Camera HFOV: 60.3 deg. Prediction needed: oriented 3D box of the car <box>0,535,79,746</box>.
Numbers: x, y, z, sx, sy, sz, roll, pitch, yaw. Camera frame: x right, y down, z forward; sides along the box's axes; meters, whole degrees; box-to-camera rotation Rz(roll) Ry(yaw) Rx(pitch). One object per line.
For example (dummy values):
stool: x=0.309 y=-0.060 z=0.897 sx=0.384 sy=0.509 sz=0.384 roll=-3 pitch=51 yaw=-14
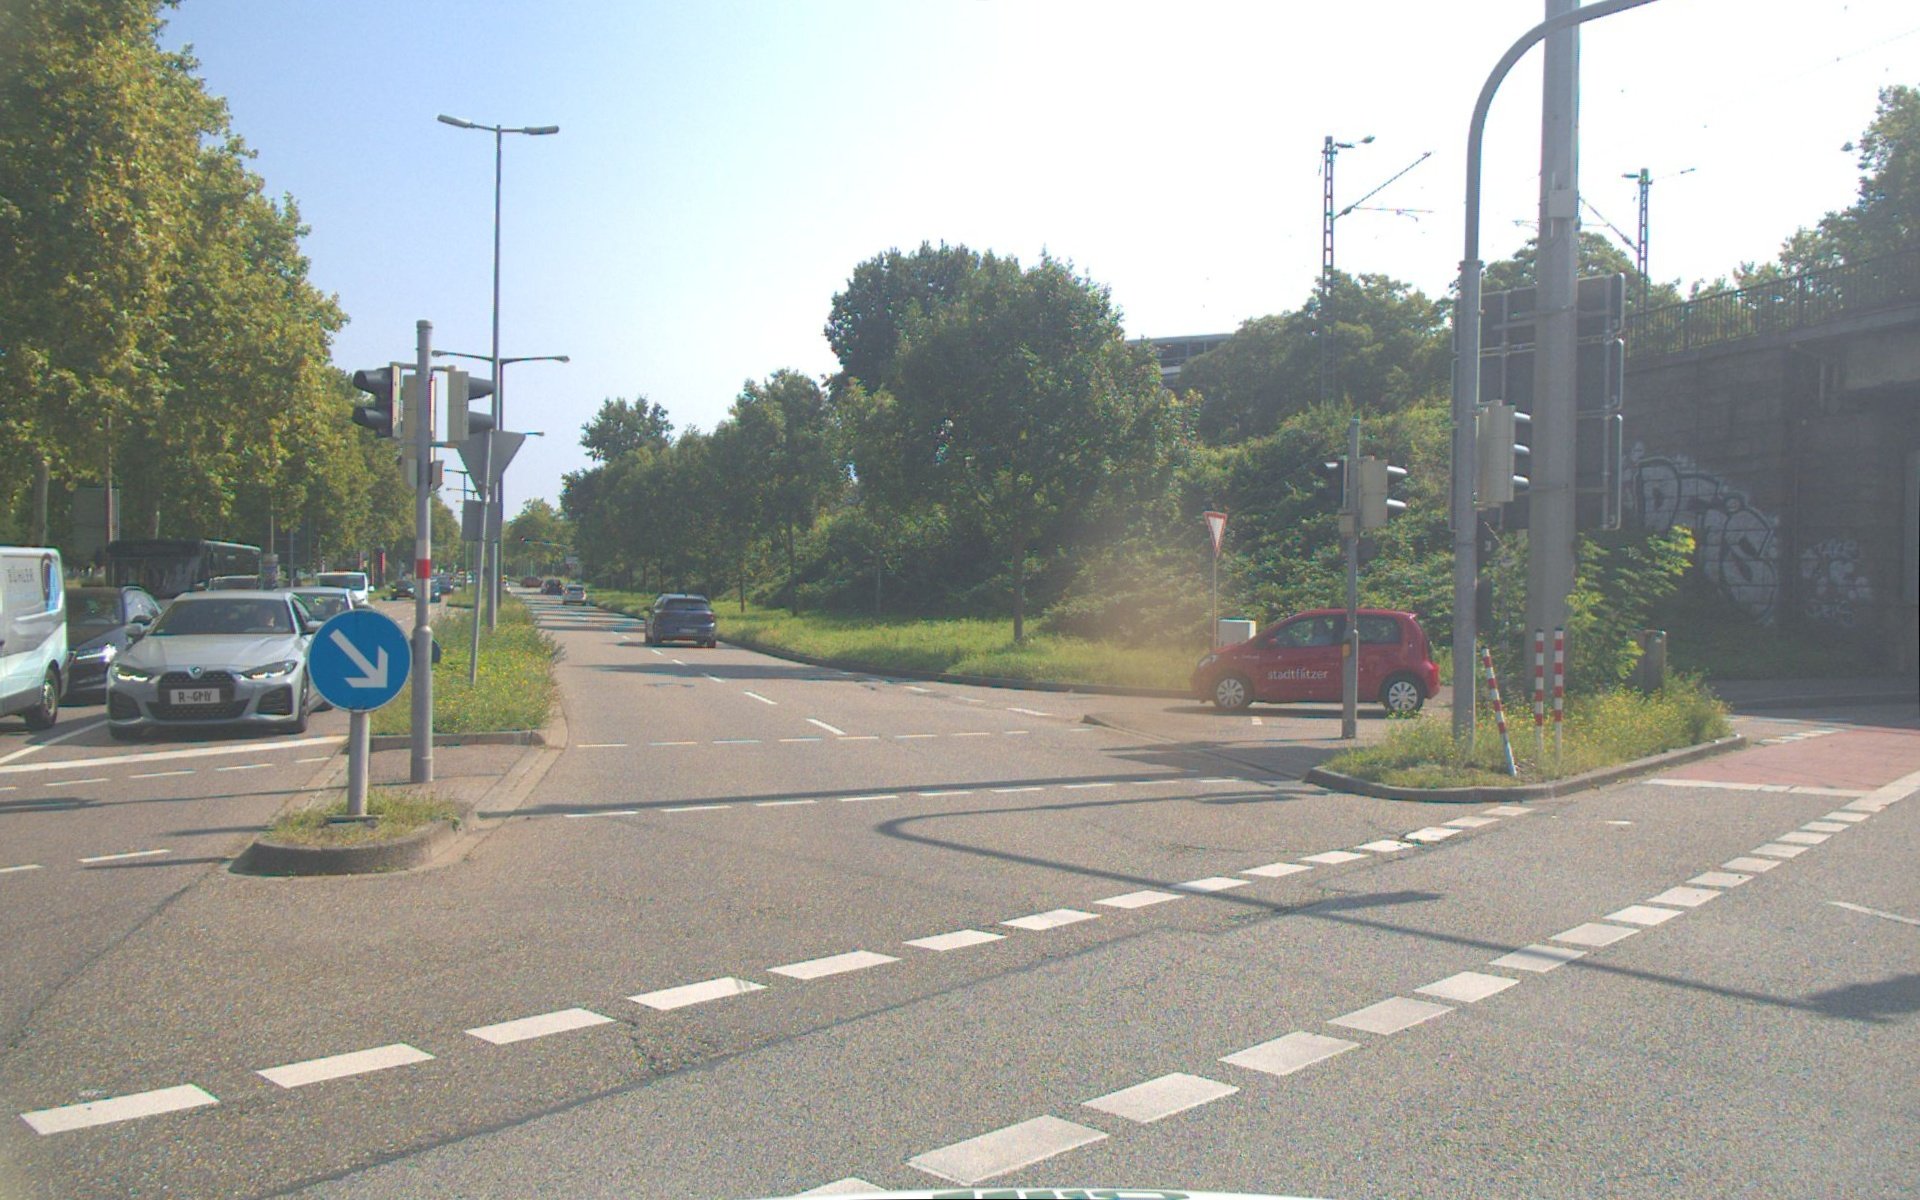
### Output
car: x=-10.154 y=0.367 z=15.969 sx=1.896 sy=1.992 sz=5.189 roll=0 pitch=1 yaw=-17

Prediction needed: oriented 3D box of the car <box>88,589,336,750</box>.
car: x=-8.005 y=0.641 z=18.112 sx=1.806 sy=1.468 sz=4.585 roll=-2 pitch=1 yaw=-16

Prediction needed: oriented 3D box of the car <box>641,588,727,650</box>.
car: x=-7.824 y=0.513 z=46.594 sx=1.753 sy=1.452 sz=3.980 roll=2 pitch=2 yaw=-19

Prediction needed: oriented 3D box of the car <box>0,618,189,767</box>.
car: x=-12.902 y=1.274 z=24.650 sx=1.689 sy=1.881 sz=4.684 roll=-1 pitch=1 yaw=-15

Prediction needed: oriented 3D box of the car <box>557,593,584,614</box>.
car: x=-31.092 y=0.260 z=131.905 sx=1.961 sy=1.683 sz=3.982 roll=0 pitch=0 yaw=-16

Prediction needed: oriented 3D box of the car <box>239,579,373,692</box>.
car: x=-10.027 y=0.521 z=25.594 sx=1.589 sy=1.562 sz=4.081 roll=-2 pitch=0 yaw=-17

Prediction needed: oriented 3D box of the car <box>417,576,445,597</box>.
car: x=-41.124 y=-1.063 z=128.548 sx=1.815 sy=1.515 sz=4.625 roll=-2 pitch=1 yaw=-15

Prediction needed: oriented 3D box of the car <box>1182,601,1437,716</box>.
car: x=5.027 y=0.806 z=23.967 sx=3.466 sy=1.493 sz=1.645 roll=1 pitch=1 yaw=11

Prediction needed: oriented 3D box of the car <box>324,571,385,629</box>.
car: x=-22.472 y=-0.052 z=61.293 sx=1.901 sy=1.994 sz=5.154 roll=-2 pitch=2 yaw=-22

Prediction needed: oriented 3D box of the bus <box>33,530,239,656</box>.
bus: x=-20.504 y=-0.186 z=41.855 sx=2.619 sy=2.741 sz=10.859 roll=-2 pitch=1 yaw=-16

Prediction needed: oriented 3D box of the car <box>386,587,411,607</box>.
car: x=-47.956 y=-0.235 z=141.195 sx=1.819 sy=1.633 sz=4.581 roll=1 pitch=0 yaw=-21

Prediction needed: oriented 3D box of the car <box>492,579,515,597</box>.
car: x=-46.858 y=-1.225 z=169.719 sx=1.958 sy=1.731 sz=3.990 roll=0 pitch=0 yaw=-11
